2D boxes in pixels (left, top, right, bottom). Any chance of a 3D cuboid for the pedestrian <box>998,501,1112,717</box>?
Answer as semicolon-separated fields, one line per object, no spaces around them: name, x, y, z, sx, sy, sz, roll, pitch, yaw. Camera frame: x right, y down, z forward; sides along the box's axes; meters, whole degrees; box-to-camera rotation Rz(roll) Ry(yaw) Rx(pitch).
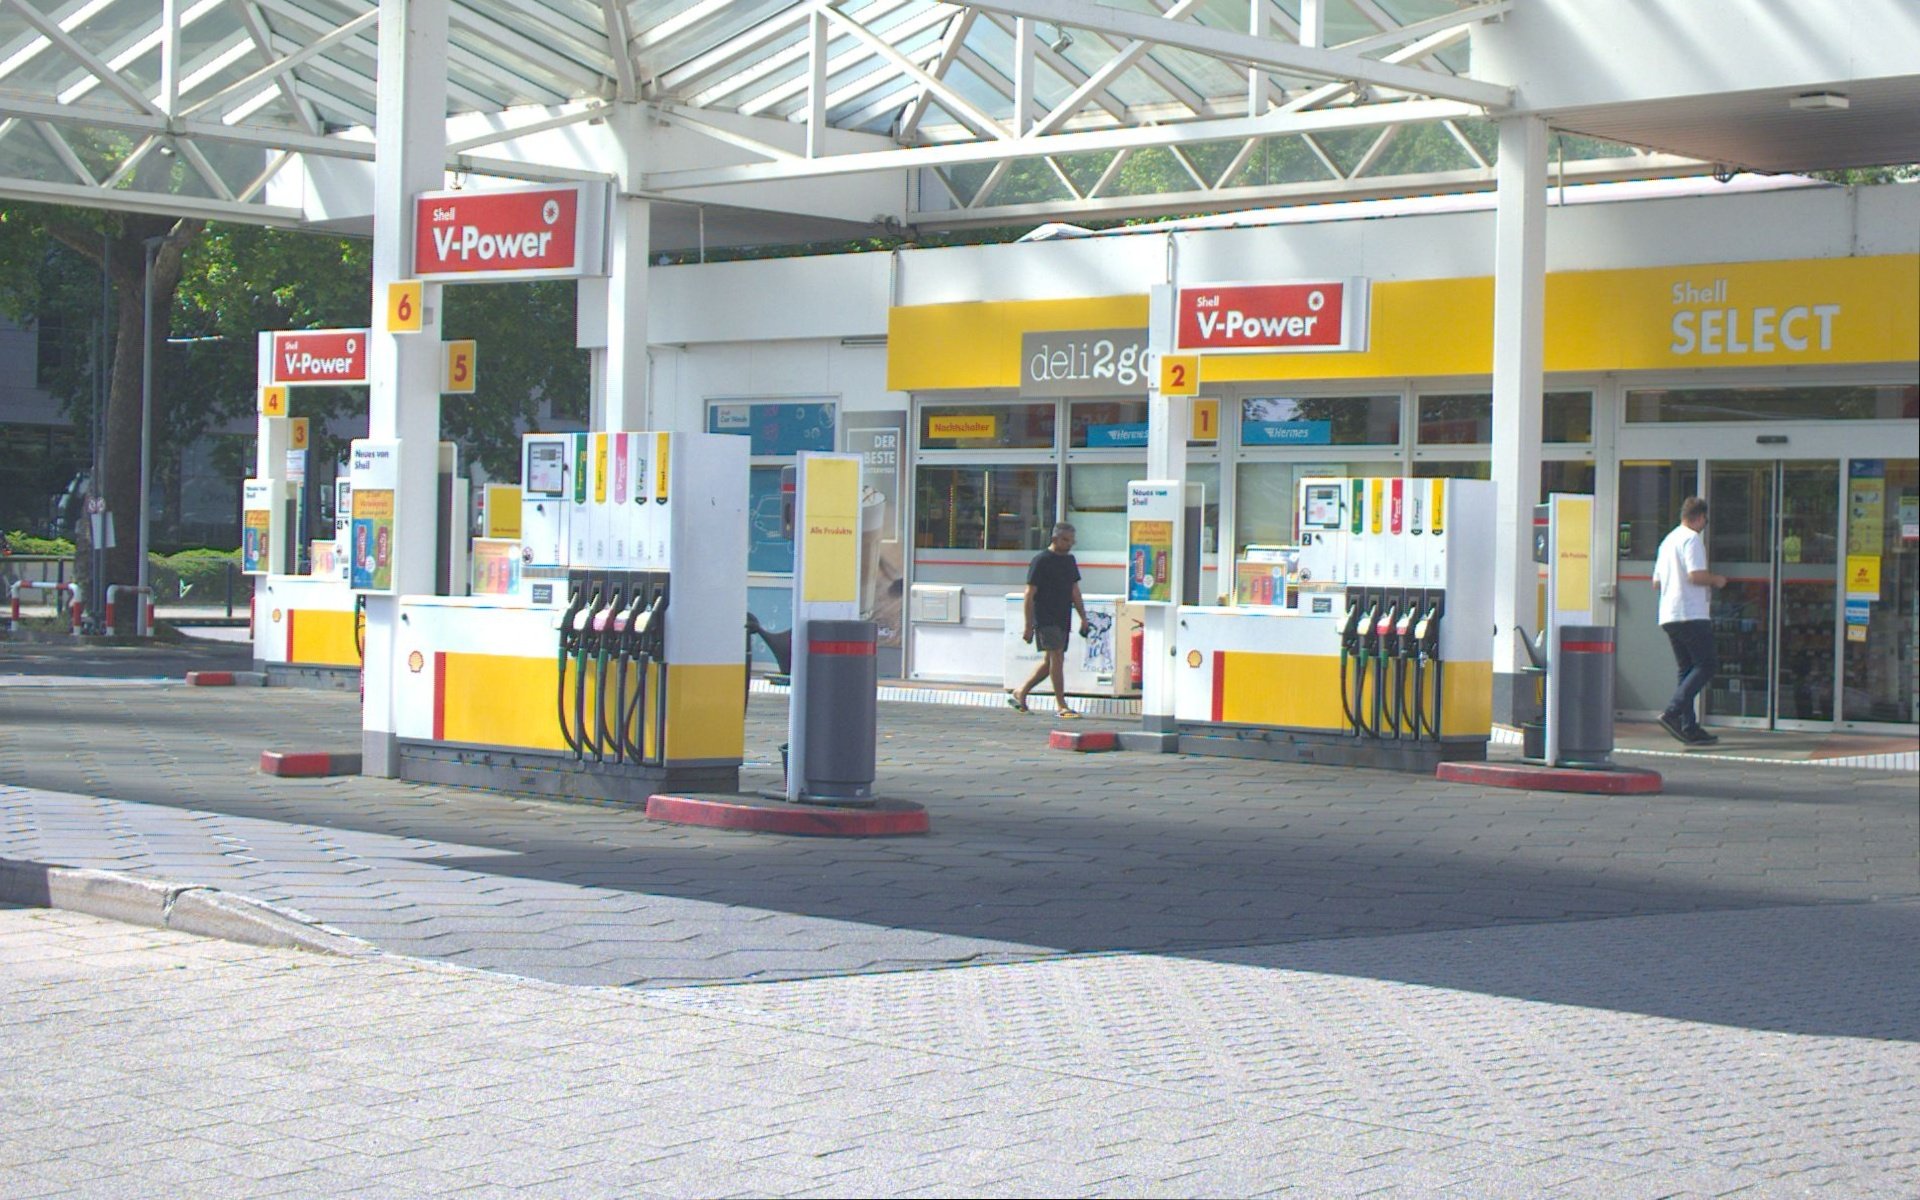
pedestrian;0.807;0.074;29.248;0.673;1.815;0.631;1;0;-39

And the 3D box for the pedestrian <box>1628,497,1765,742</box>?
pedestrian;5.642;0.142;26.325;0.856;1.831;0.744;2;0;23
